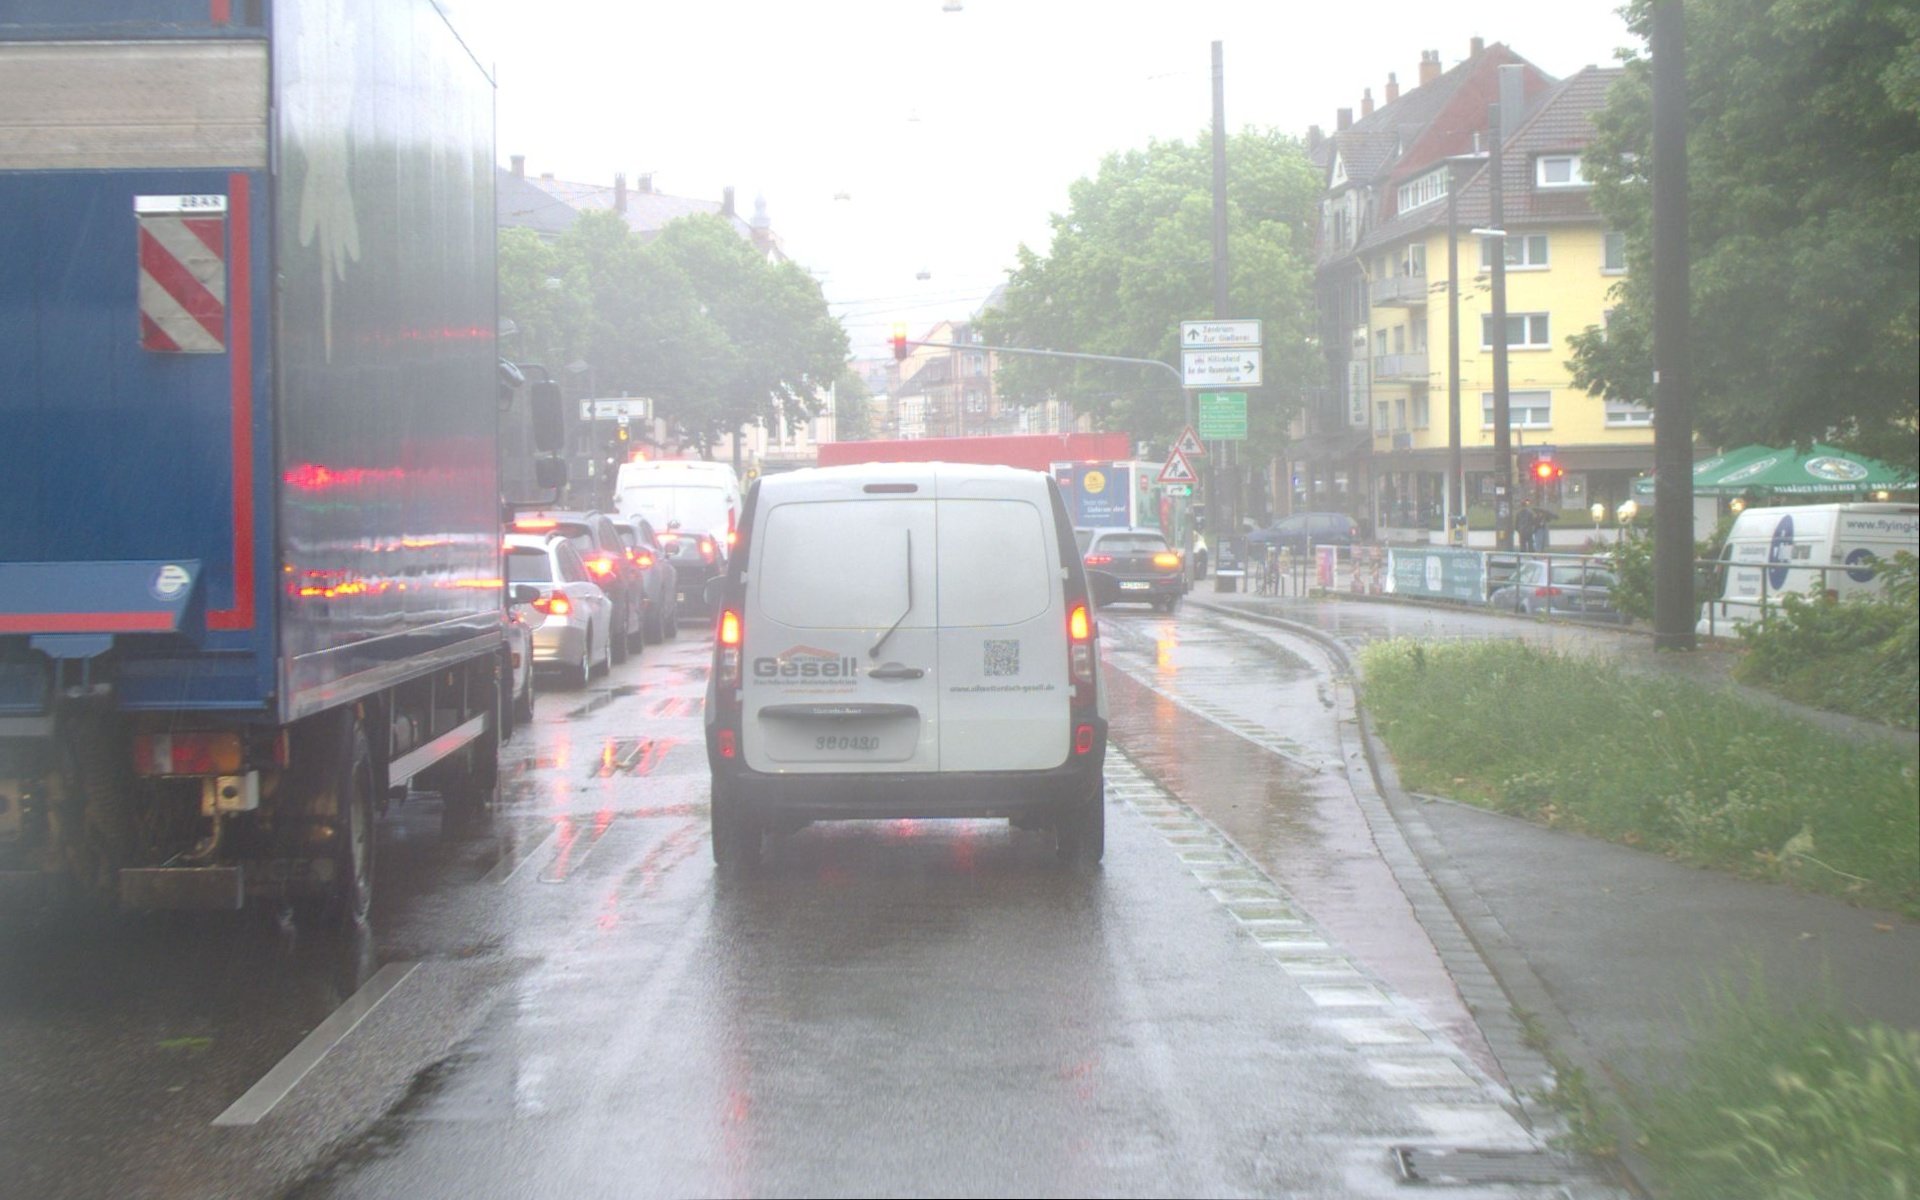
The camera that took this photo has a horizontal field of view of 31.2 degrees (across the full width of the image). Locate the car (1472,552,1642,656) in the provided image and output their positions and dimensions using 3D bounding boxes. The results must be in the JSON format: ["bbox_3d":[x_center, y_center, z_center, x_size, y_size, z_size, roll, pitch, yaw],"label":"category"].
[{"bbox_3d":[9.715,0.030,56.286,1.822,1.485,4.353,-2,2,-2],"label":"car"}]

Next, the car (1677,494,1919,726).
[{"bbox_3d":[10.626,0.024,41.840,2.179,2.523,5.779,-2,2,-4],"label":"car"}]

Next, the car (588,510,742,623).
[{"bbox_3d":[-4.337,-0.511,51.102,1.993,1.573,4.292,1,1,-1],"label":"car"}]

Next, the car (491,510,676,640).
[{"bbox_3d":[-4.795,-0.345,44.364,1.993,1.573,4.292,1,1,-1],"label":"car"}]

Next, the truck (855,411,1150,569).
[{"bbox_3d":[1.245,-3.526,112.987,3.279,4.882,11.398,-3,3,-37],"label":"truck"}]

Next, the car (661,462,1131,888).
[{"bbox_3d":[-0.305,0.301,16.117,1.959,1.771,3.570,0,0,-1],"label":"car"}]

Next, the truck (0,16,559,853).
[{"bbox_3d":[-3.566,-0.818,18.042,2.580,3.890,4.001,0,1,-2],"label":"truck"}]

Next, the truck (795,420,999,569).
[{"bbox_3d":[-2.210,-3.578,117.767,3.279,4.882,7.179,-3,3,-37],"label":"truck"}]

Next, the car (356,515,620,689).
[{"bbox_3d":[-4.389,-0.033,32.563,1.993,1.467,4.267,1,2,-1],"label":"car"}]

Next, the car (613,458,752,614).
[{"bbox_3d":[-4.517,-1.052,56.612,1.993,2.433,4.612,1,1,-1],"label":"car"}]

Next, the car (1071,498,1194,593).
[{"bbox_3d":[2.936,-0.940,58.536,1.994,1.536,4.000,-1,1,3],"label":"car"}]

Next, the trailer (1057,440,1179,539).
[{"bbox_3d":[3.941,-2.701,84.800,1.995,2.309,4.665,0,0,16],"label":"trailer"}]

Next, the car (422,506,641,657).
[{"bbox_3d":[-4.738,-0.230,38.572,1.993,1.573,4.292,1,1,-1],"label":"car"}]

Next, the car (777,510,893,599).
[{"bbox_3d":[-2.097,-0.770,58.451,1.760,1.464,3.533,0,1,2],"label":"car"}]

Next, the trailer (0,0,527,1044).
[{"bbox_3d":[-3.392,-0.718,13.954,2.590,3.886,7.637,0,1,-2],"label":"trailer"}]
